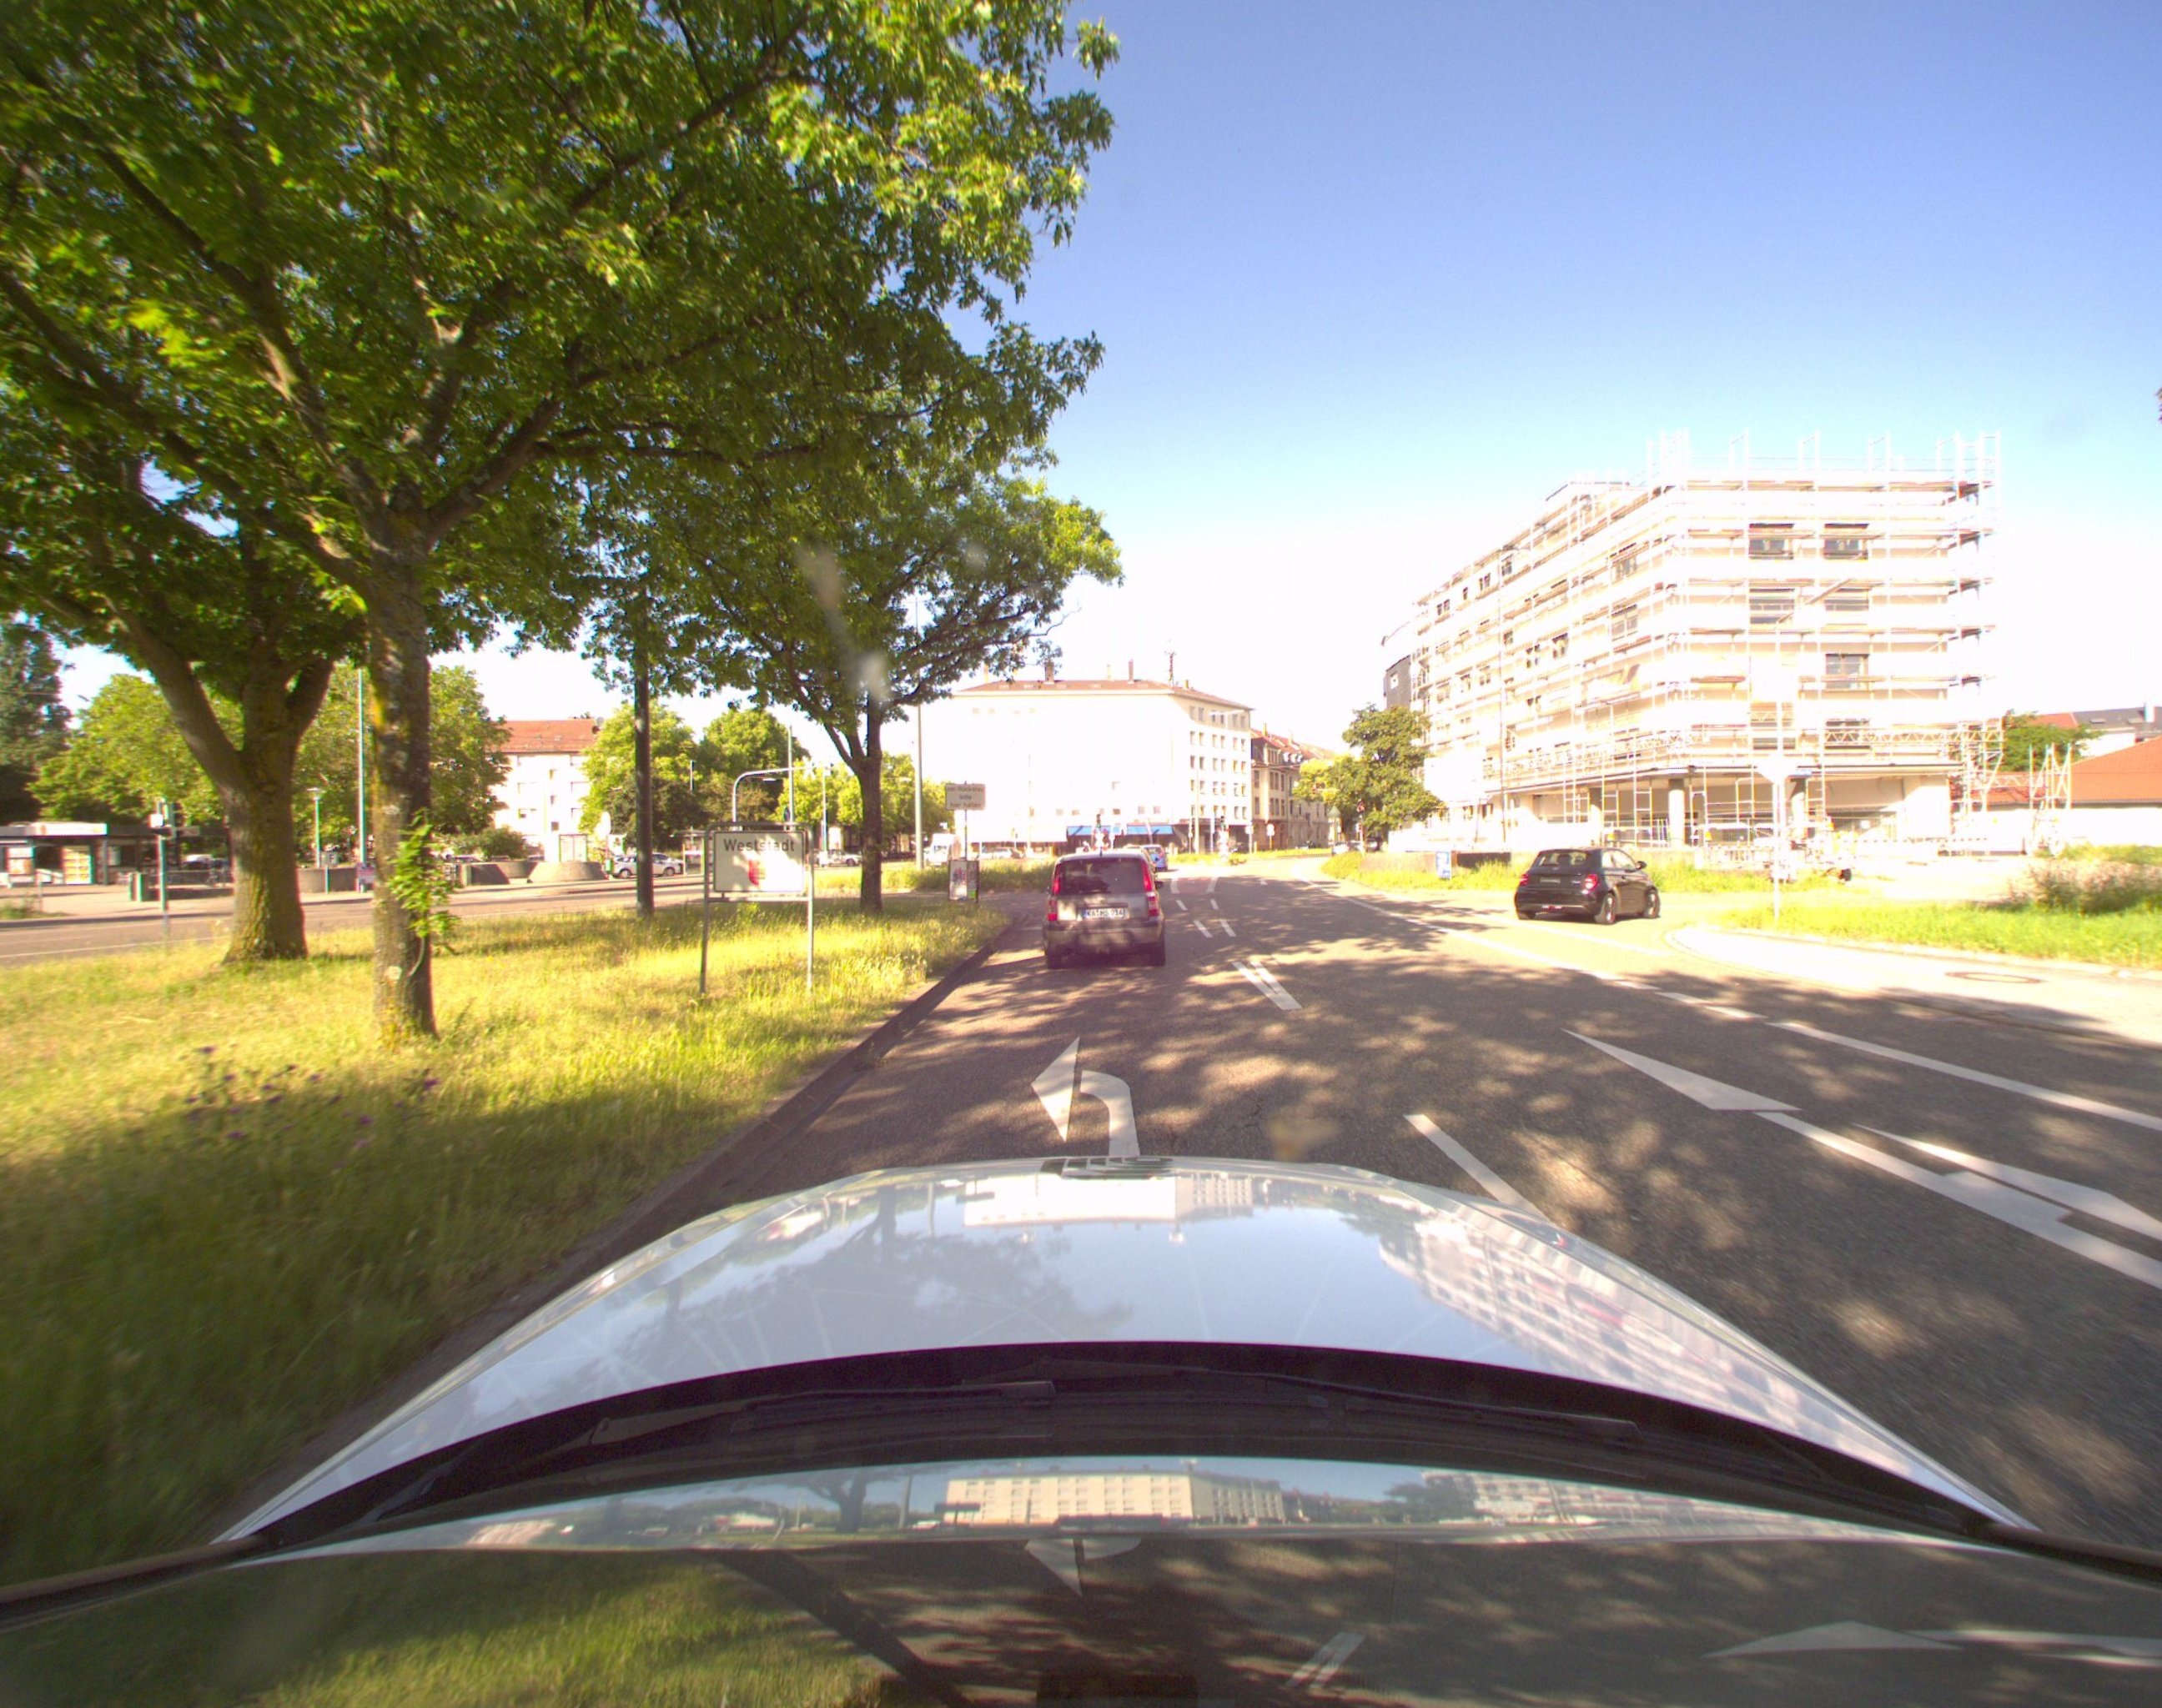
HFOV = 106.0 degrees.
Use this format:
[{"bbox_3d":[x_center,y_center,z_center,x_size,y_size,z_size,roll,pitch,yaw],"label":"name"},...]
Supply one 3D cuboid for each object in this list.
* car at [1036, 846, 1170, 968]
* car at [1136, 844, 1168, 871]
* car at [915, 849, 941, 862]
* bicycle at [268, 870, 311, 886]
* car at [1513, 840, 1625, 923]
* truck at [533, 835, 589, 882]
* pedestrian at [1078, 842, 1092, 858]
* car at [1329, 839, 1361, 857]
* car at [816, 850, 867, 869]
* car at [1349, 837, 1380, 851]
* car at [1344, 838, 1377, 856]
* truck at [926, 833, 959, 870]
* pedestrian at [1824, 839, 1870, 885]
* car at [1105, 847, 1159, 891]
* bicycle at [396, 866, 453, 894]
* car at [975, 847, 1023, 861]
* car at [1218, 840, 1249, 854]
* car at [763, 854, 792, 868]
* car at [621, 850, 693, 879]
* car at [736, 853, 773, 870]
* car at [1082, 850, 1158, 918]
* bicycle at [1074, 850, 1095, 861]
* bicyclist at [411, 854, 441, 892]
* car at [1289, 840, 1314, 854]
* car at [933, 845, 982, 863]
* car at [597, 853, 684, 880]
[{"bbox_3d":[0.351,0.648,11.841,1.653,1.510,3.254,-1,1,2],"label":"car"},{"bbox_3d":[3.904,0.165,44.714,1.638,1.438,3.401,-1,1,5],"label":"car"},{"bbox_3d":[-16.728,0.115,89.343,1.987,1.310,4.001,-1,1,1],"label":"car"},{"bbox_3d":[-44.657,1.326,45.958,1.695,0.839,0.541,-1,1,-42],"label":"bicycle"},{"bbox_3d":[9.950,0.487,16.831,1.659,1.503,3.583,-1,1,26],"label":"car"},{"bbox_3d":[-35.066,0.243,54.854,4.768,2.994,2.012,0,1,43],"label":"truck"},{"bbox_3d":[0.377,-0.332,71.117,0.780,1.427,0.927,1,-1,-42],"label":"pedestrian"},{"bbox_3d":[23.116,-0.551,71.310,1.758,1.442,3.642,0,1,33],"label":"car"},{"bbox_3d":[-21.162,0.506,72.050,3.981,1.572,1.996,-1,0,-6],"label":"car"},{"bbox_3d":[35.419,-1.229,101.874,1.906,1.593,3.984,-1,1,-12],"label":"car"},{"bbox_3d":[25.912,-0.662,75.422,1.802,1.508,4.026,-1,1,34],"label":"car"},{"bbox_3d":[-9.646,-0.193,56.940,1.784,2.426,4.105,-1,0,-3],"label":"truck"},{"bbox_3d":[25.683,0.270,27.308,0.649,1.497,0.907,-1,0,-7],"label":"pedestrian"},{"bbox_3d":[1.957,0.498,30.092,1.751,1.486,4.301,-1,1,6],"label":"car"},{"bbox_3d":[-26.530,1.037,32.937,0.607,1.001,1.667,0,2,21],"label":"bicycle"},{"bbox_3d":[-7.453,-0.001,73.966,3.948,1.243,2.013,0,1,36],"label":"car"},{"bbox_3d":[16.278,-0.748,86.752,1.773,1.395,3.749,-1,1,36],"label":"car"},{"bbox_3d":[-32.560,0.723,87.370,1.588,1.293,3.704,-1,1,1],"label":"car"},{"bbox_3d":[-28.848,0.683,55.523,1.742,1.717,4.025,3,3,28],"label":"car"},{"bbox_3d":[-32.743,0.699,81.852,1.752,1.617,4.231,0,1,4],"label":"car"},{"bbox_3d":[0.916,0.635,19.476,1.615,1.429,3.690,-1,1,2],"label":"car"},{"bbox_3d":[0.328,0.109,71.154,0.789,0.951,1.834,1,-1,-42],"label":"bicycle"},{"bbox_3d":[-26.517,0.761,32.972,0.607,1.530,0.680,0,2,21],"label":"bicyclist"},{"bbox_3d":[27.024,-0.854,99.816,1.773,1.565,3.790,-1,1,36],"label":"car"},{"bbox_3d":[-10.259,0.023,67.528,4.346,1.448,1.679,0,1,43],"label":"car"},{"bbox_3d":[-28.215,0.753,52.305,1.849,1.543,4.576,3,3,44],"label":"car"}]
